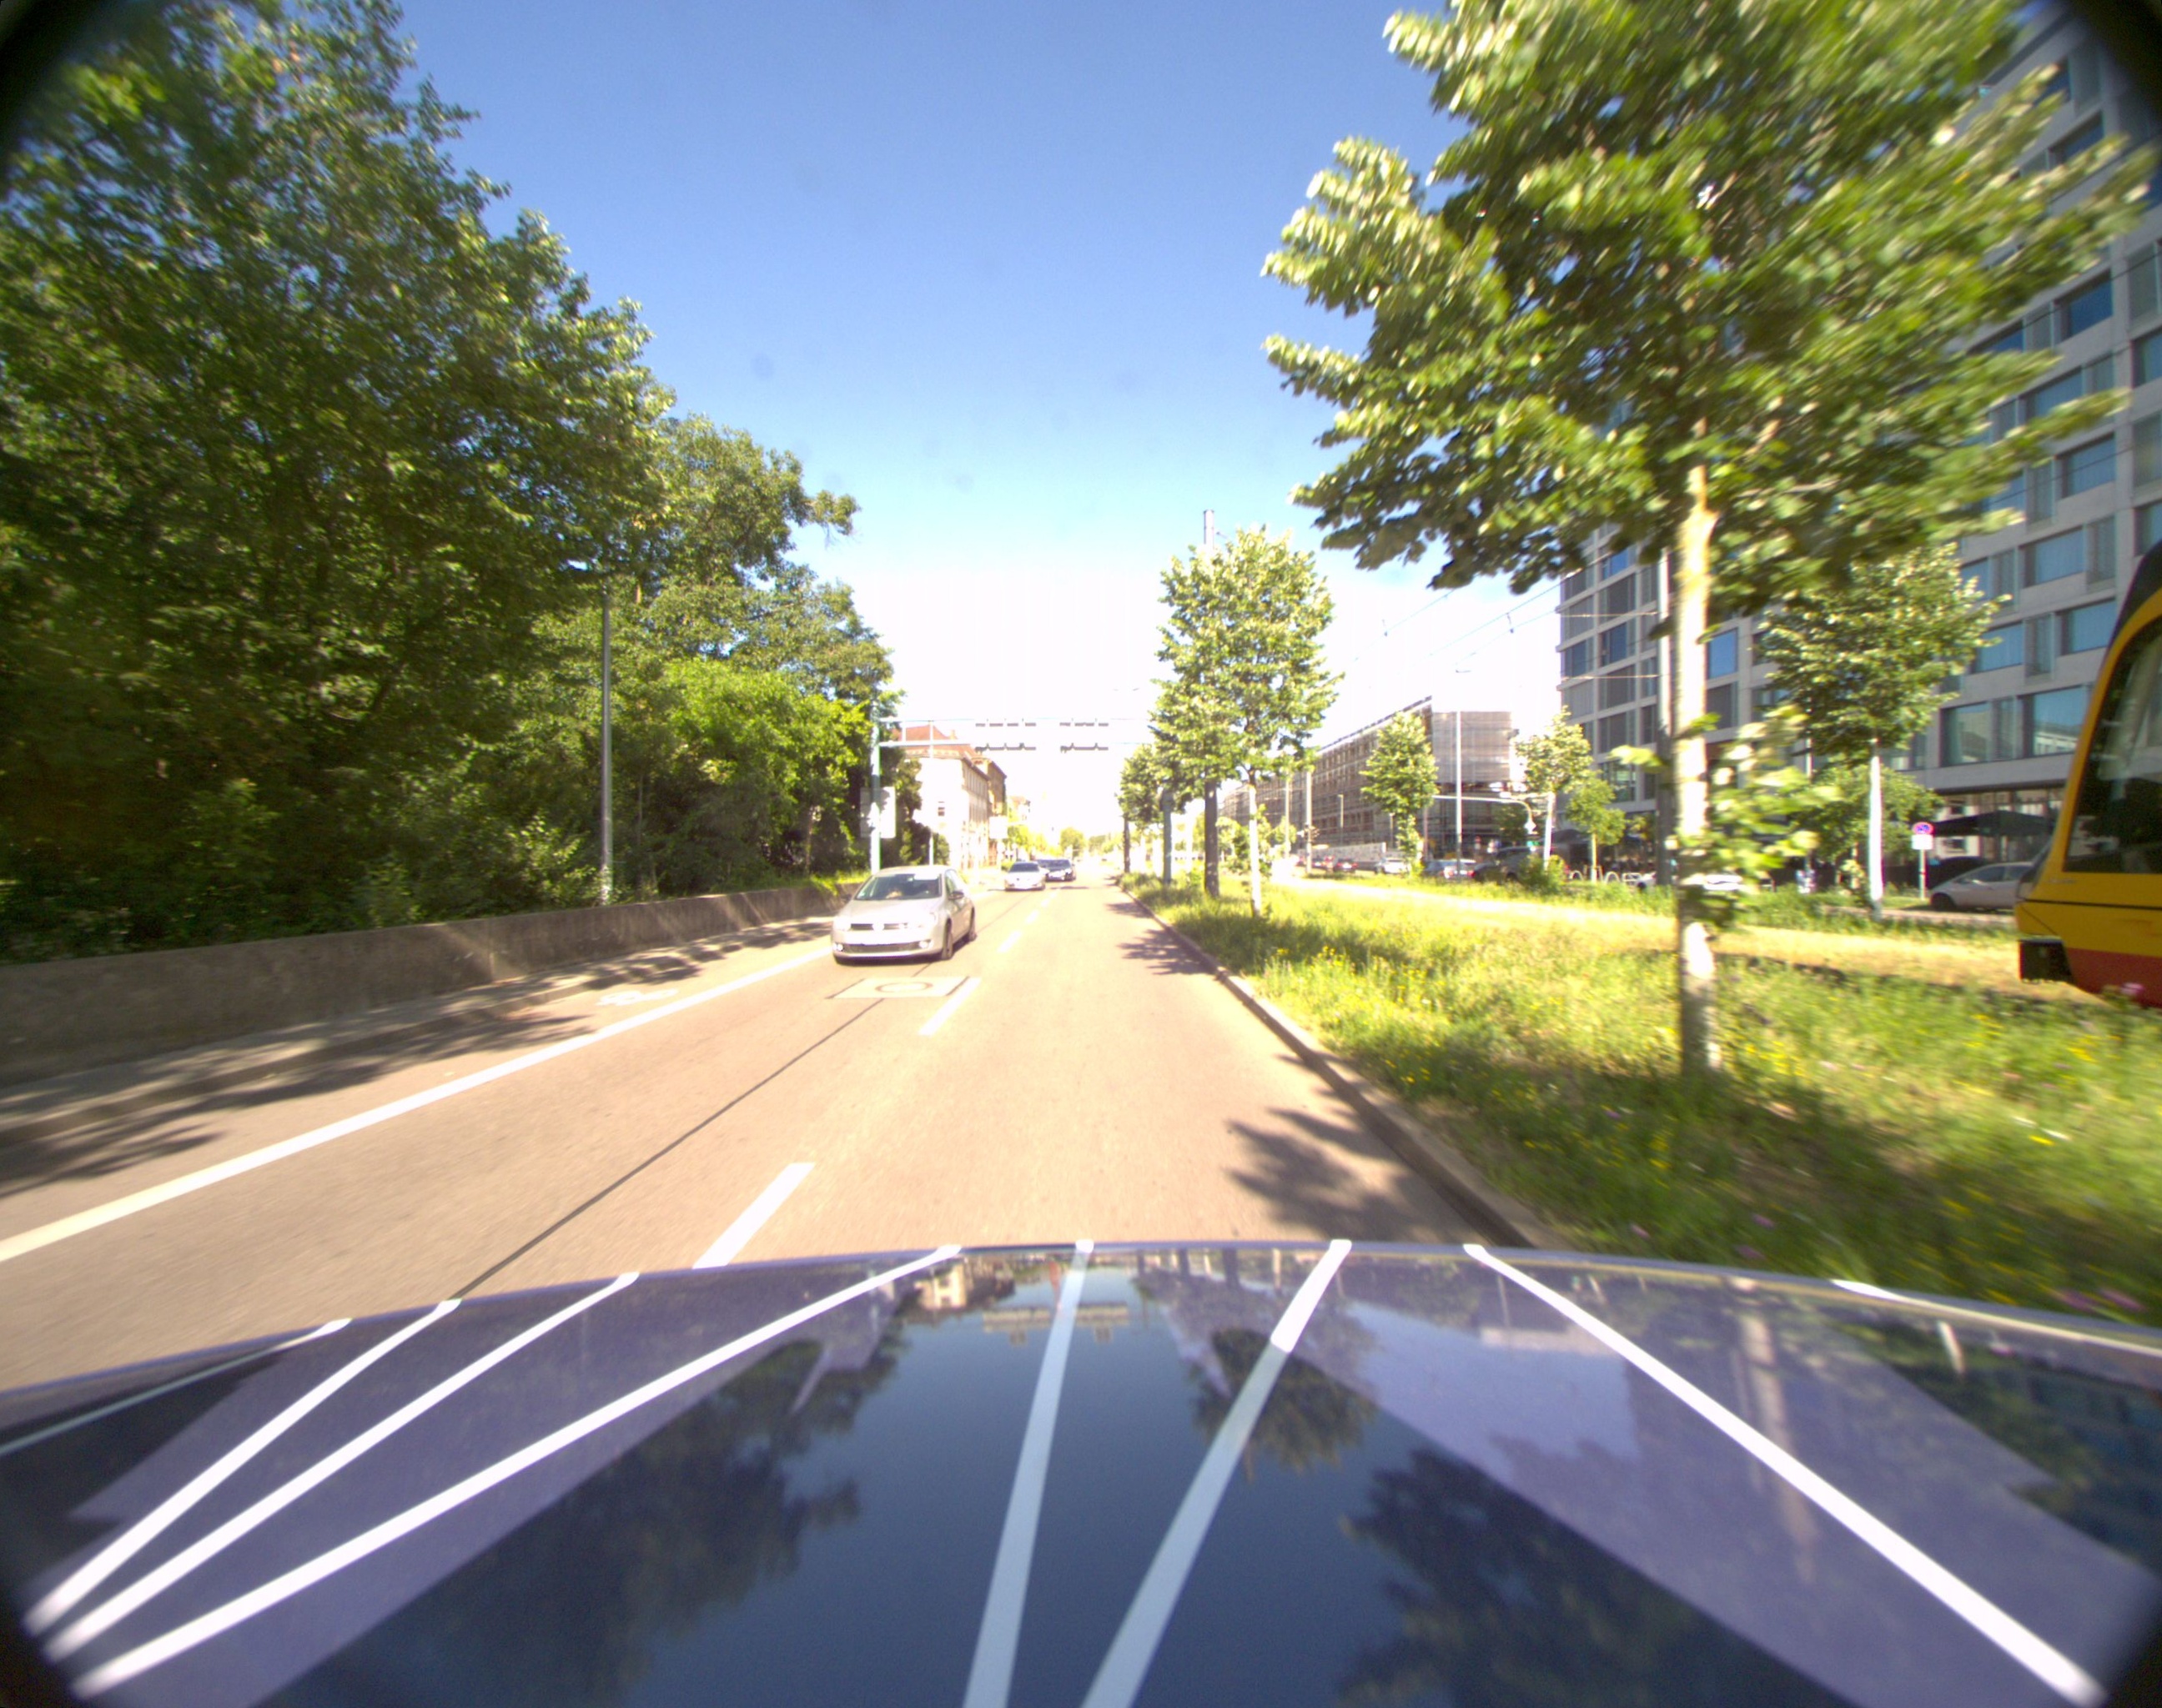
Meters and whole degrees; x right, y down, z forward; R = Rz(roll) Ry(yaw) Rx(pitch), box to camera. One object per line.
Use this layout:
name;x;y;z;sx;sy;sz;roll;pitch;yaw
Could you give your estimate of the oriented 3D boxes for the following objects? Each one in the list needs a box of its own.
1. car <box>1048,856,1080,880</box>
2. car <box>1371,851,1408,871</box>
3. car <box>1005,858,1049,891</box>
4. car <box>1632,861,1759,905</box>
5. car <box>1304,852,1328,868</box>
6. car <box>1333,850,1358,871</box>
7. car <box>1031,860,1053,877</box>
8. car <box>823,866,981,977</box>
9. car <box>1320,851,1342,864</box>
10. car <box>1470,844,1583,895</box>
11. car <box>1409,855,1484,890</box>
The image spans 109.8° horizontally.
car;-1.159;0.883;49.737;1.999;1.493;3.999;0;0;-2
car;25.579;0.554;63.146;1.742;1.537;4.001;-1;0;4
car;-2.583;0.974;37.262;1.839;1.415;3.999;-1;0;0
car;23.600;1.064;29.376;1.827;1.499;3.813;-1;0;1
car;25.751;0.653;83.498;1.888;1.565;4.002;-1;0;8
car;23.059;0.532;66.388;1.776;1.664;3.893;-1;0;15
car;-3.418;1.282;67.628;1.703;1.415;3.999;-1;0;0
car;-2.840;1.005;12.915;1.703;1.466;3.999;-1;0;0
car;30.056;0.410;91.454;1.888;1.565;4.002;-1;0;8
car;17.465;0.558;30.047;1.998;1.808;4.285;-1;0;1
car;17.487;0.855;36.569;1.729;1.543;4.000;-1;0;1
